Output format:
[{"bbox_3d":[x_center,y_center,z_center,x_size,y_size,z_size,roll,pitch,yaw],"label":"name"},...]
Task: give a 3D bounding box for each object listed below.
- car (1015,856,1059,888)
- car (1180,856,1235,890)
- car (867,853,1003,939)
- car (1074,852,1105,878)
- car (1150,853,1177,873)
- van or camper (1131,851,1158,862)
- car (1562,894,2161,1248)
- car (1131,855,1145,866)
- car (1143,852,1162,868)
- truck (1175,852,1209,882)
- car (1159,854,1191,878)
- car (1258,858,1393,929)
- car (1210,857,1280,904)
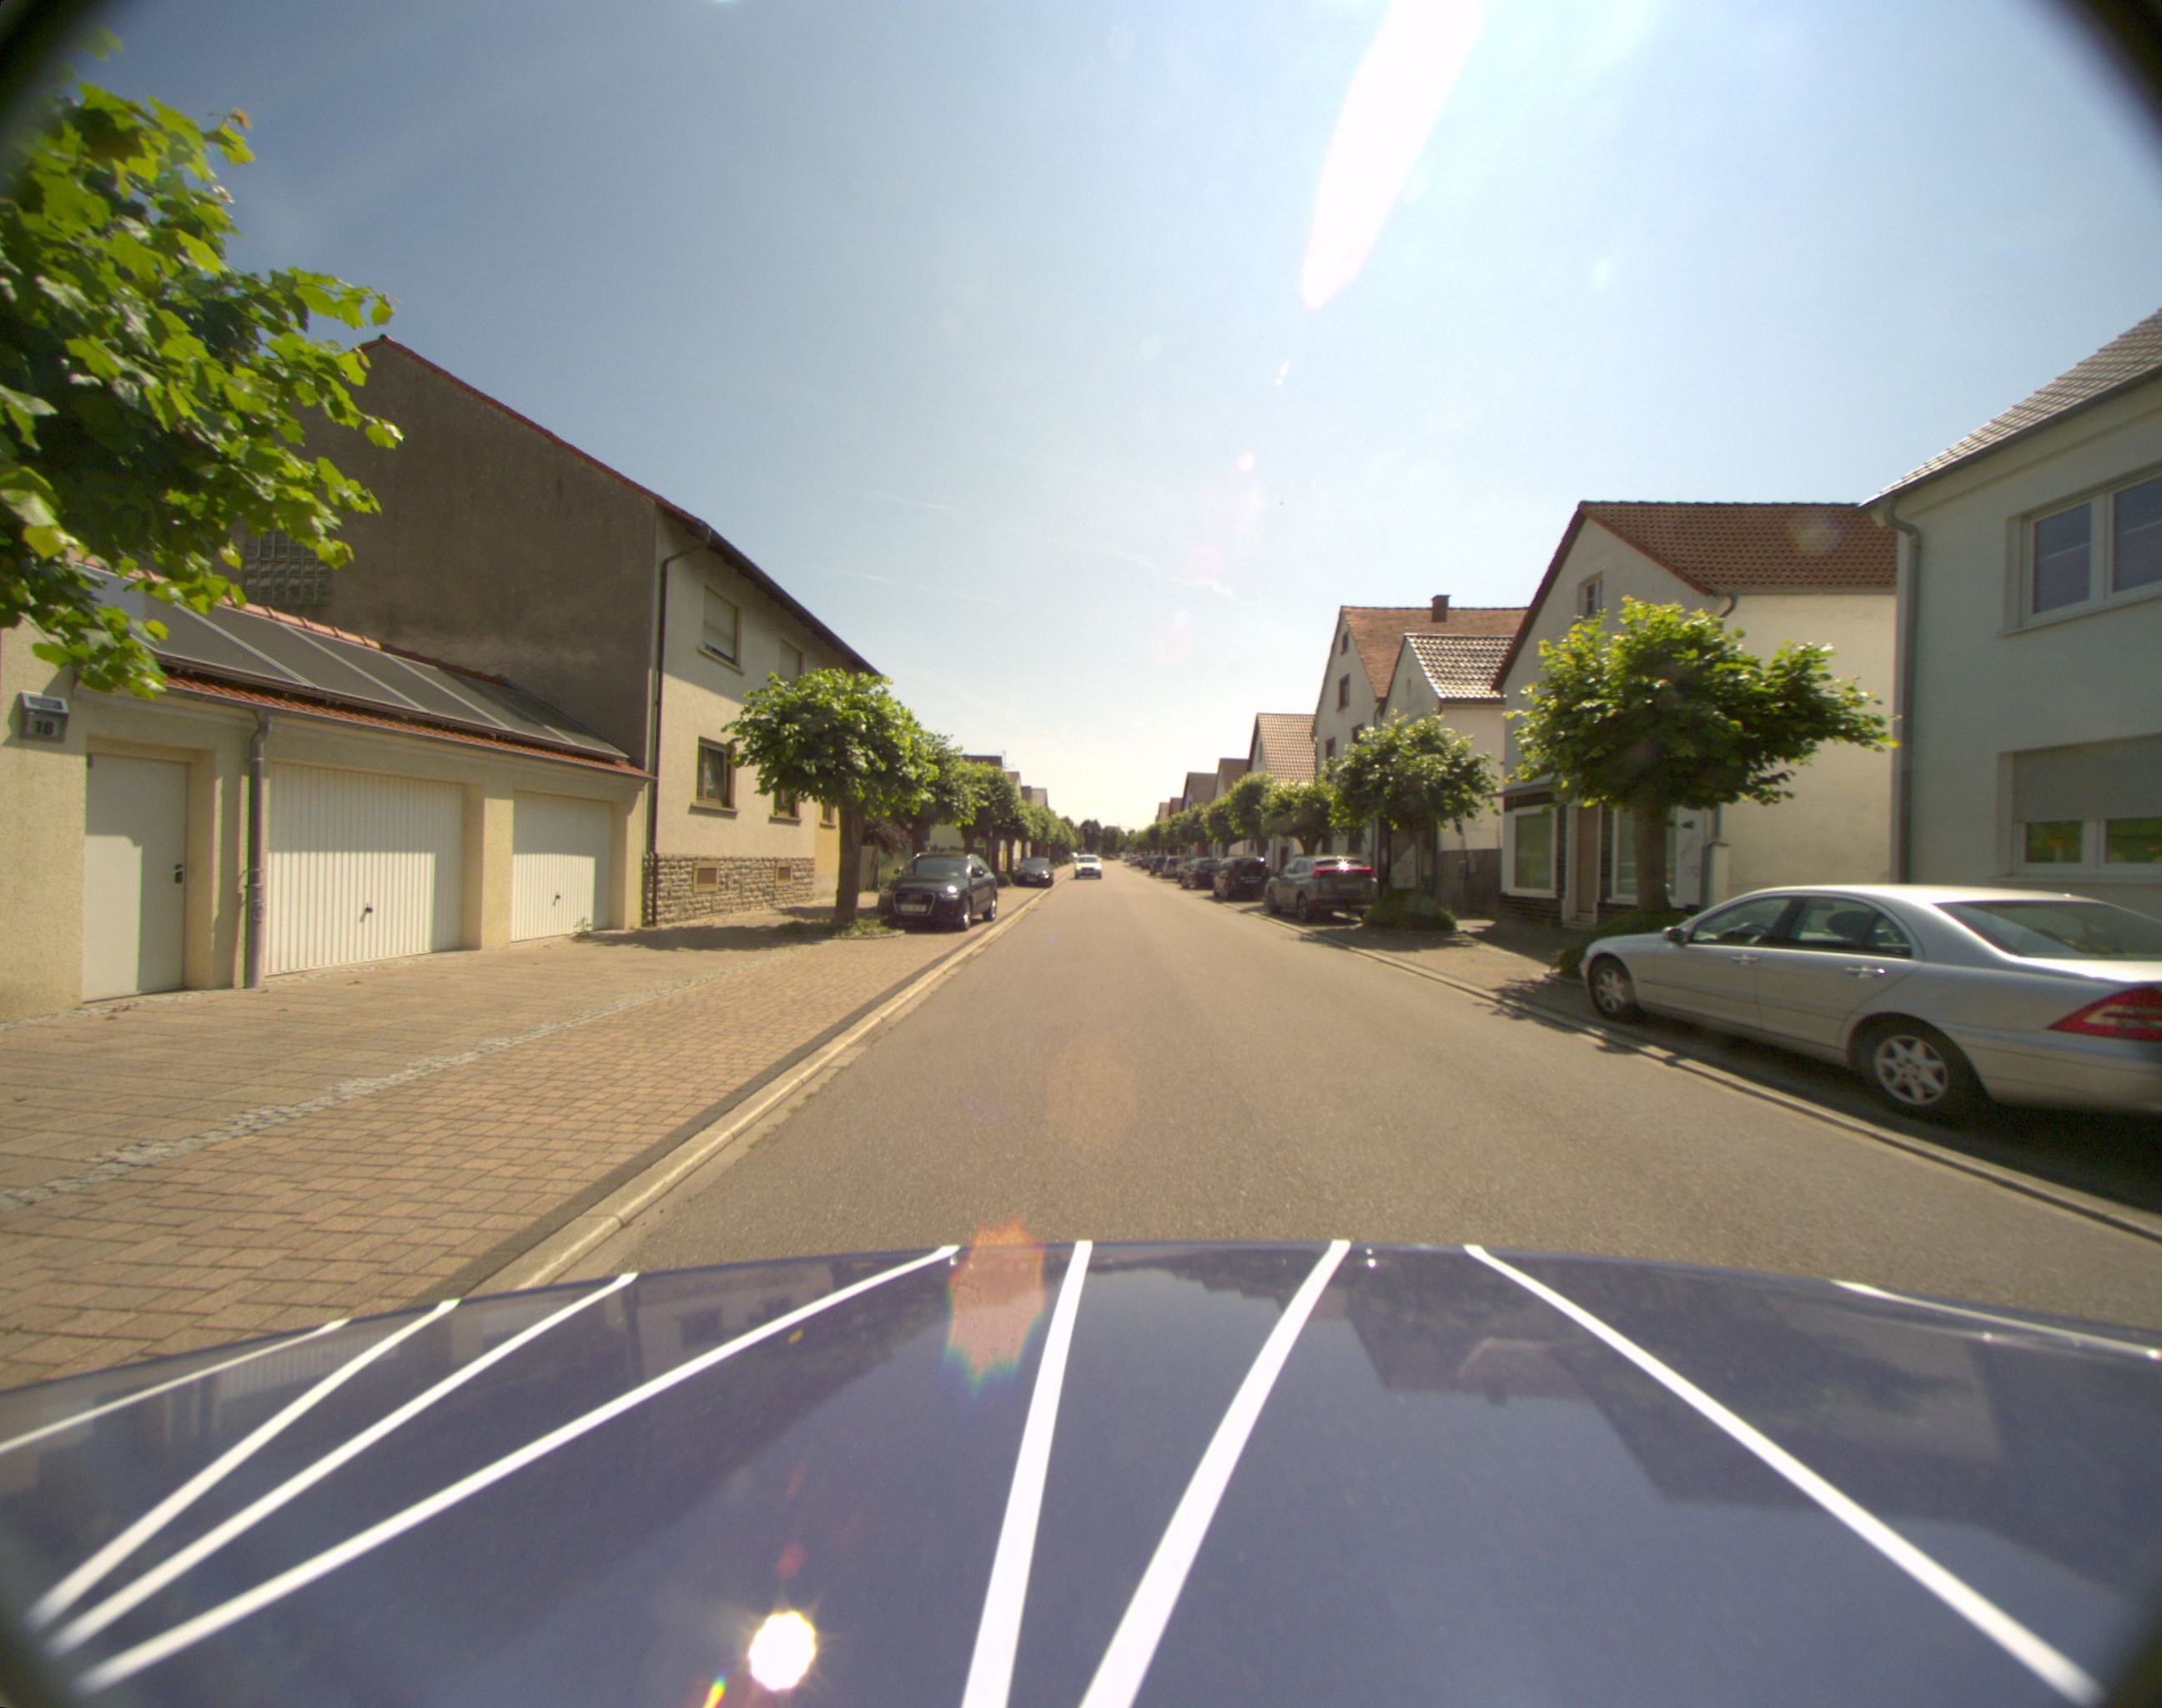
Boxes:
[{"bbox_3d":[-2.128,0.857,38.074,1.828,1.424,4.057,3,0,1],"label":"car"},{"bbox_3d":[6.314,0.922,38.342,1.791,1.624,3.998,0,0,-4],"label":"car"},{"bbox_3d":[-3.033,0.826,16.671,1.828,1.576,4.058,3,0,5],"label":"car"},{"bbox_3d":[0.619,0.712,51.362,1.857,1.603,4.135,-1,0,3],"label":"car"},{"bbox_3d":[6.798,0.746,62.812,1.857,1.626,4.299,-1,-1,1],"label":"car"},{"bbox_3d":[11.642,0.490,139.771,4.752,1.851,2.000,-1,0,0],"label":"van or camper"},{"bbox_3d":[5.889,1.116,5.651,1.845,1.387,4.406,1,0,1],"label":"car"},{"bbox_3d":[8.385,0.920,111.913,1.829,1.474,4.132,-1,0,1],"label":"car"},{"bbox_3d":[7.826,0.636,83.613,1.857,1.603,4.135,-1,0,3],"label":"car"},{"bbox_3d":[6.867,0.776,47.453,1.580,1.755,4.192,-1,0,1],"label":"truck"},{"bbox_3d":[6.835,0.826,55.586,1.857,1.604,4.370,-1,1,1],"label":"car"},{"bbox_3d":[6.334,0.952,20.253,1.999,1.643,4.366,1,0,-2],"label":"car"},{"bbox_3d":[6.209,0.962,29.227,1.857,1.625,4.056,0,1,1],"label":"car"}]
